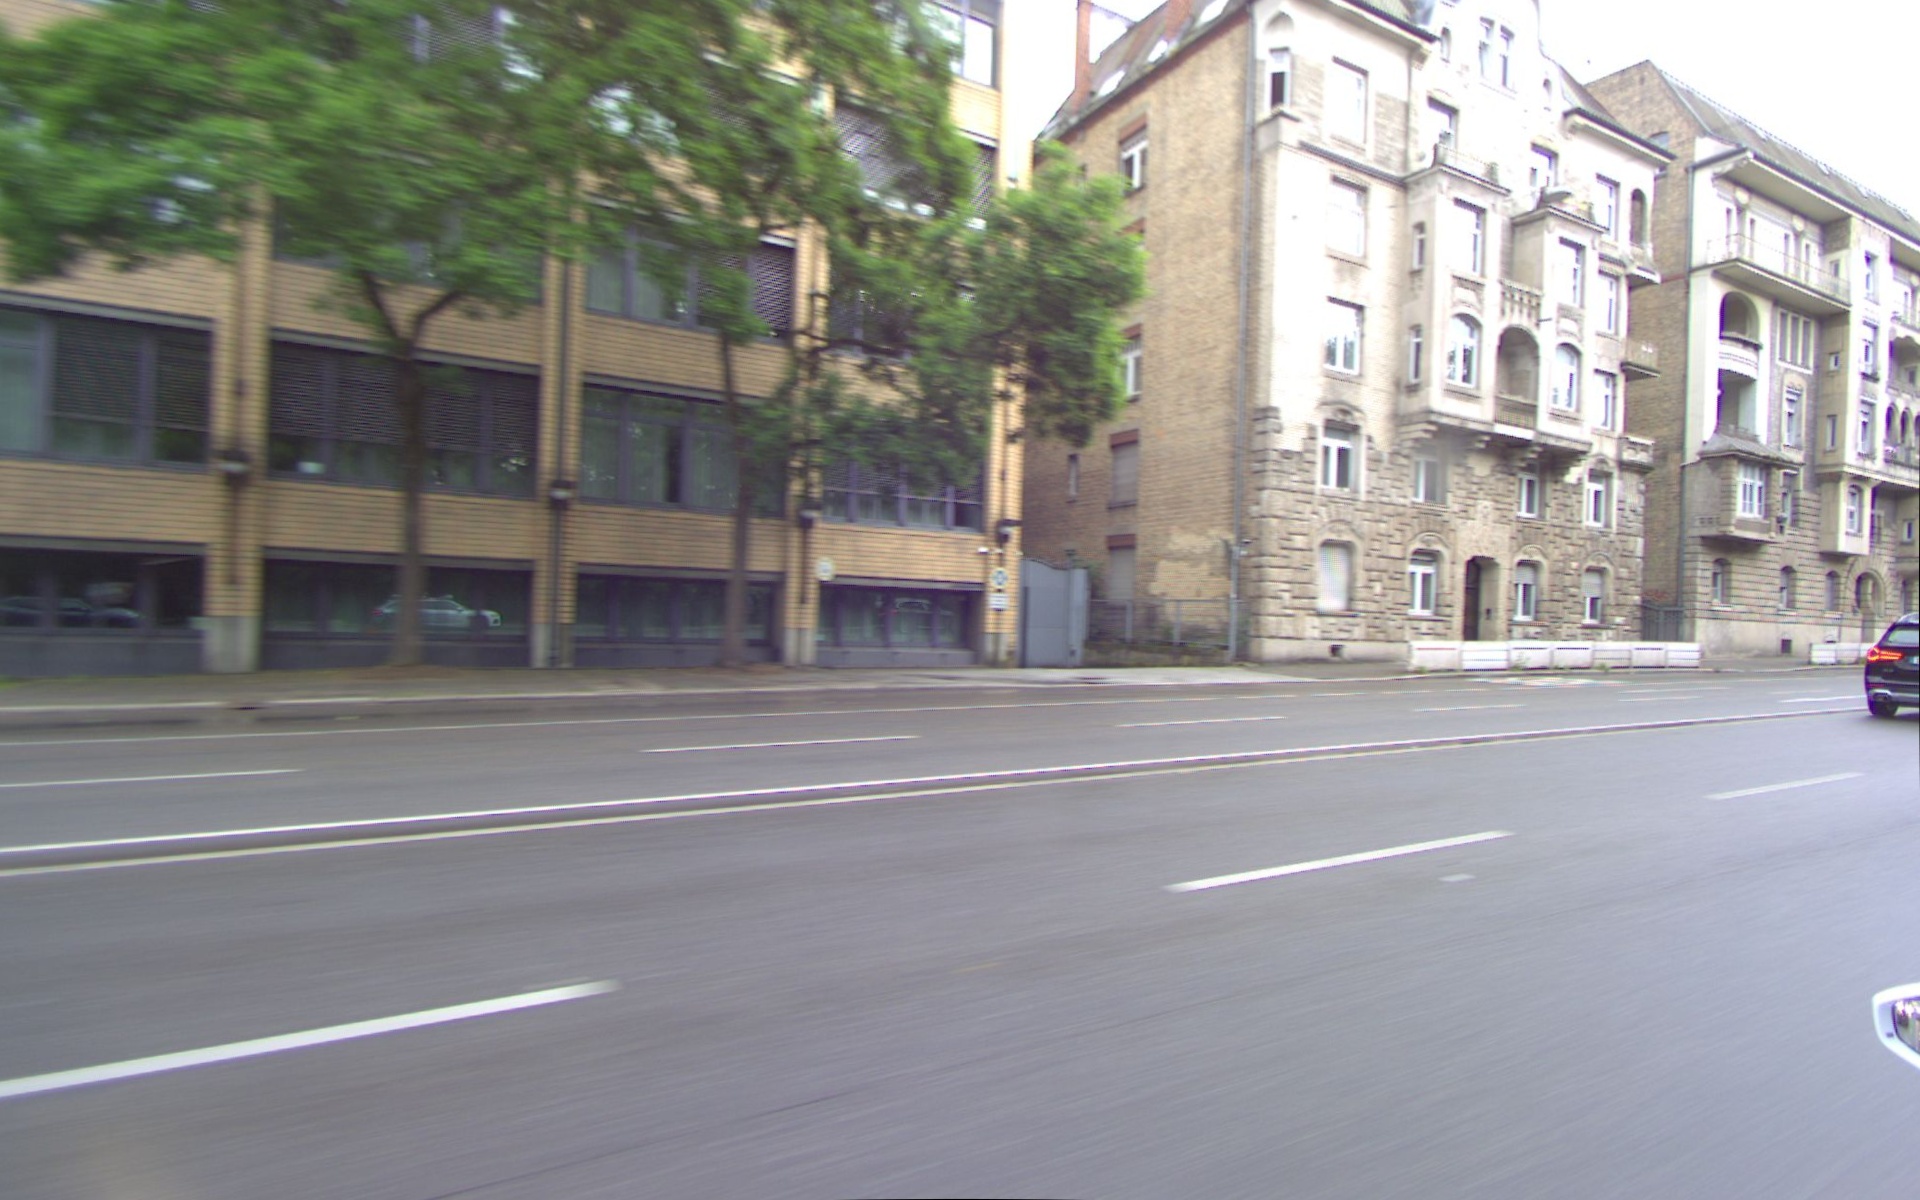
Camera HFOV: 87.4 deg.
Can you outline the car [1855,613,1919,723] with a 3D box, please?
[{"bbox_3d":[16.191,1.082,15.917,4.361,1.607,1.749,2,0,-31],"label":"car"}]
